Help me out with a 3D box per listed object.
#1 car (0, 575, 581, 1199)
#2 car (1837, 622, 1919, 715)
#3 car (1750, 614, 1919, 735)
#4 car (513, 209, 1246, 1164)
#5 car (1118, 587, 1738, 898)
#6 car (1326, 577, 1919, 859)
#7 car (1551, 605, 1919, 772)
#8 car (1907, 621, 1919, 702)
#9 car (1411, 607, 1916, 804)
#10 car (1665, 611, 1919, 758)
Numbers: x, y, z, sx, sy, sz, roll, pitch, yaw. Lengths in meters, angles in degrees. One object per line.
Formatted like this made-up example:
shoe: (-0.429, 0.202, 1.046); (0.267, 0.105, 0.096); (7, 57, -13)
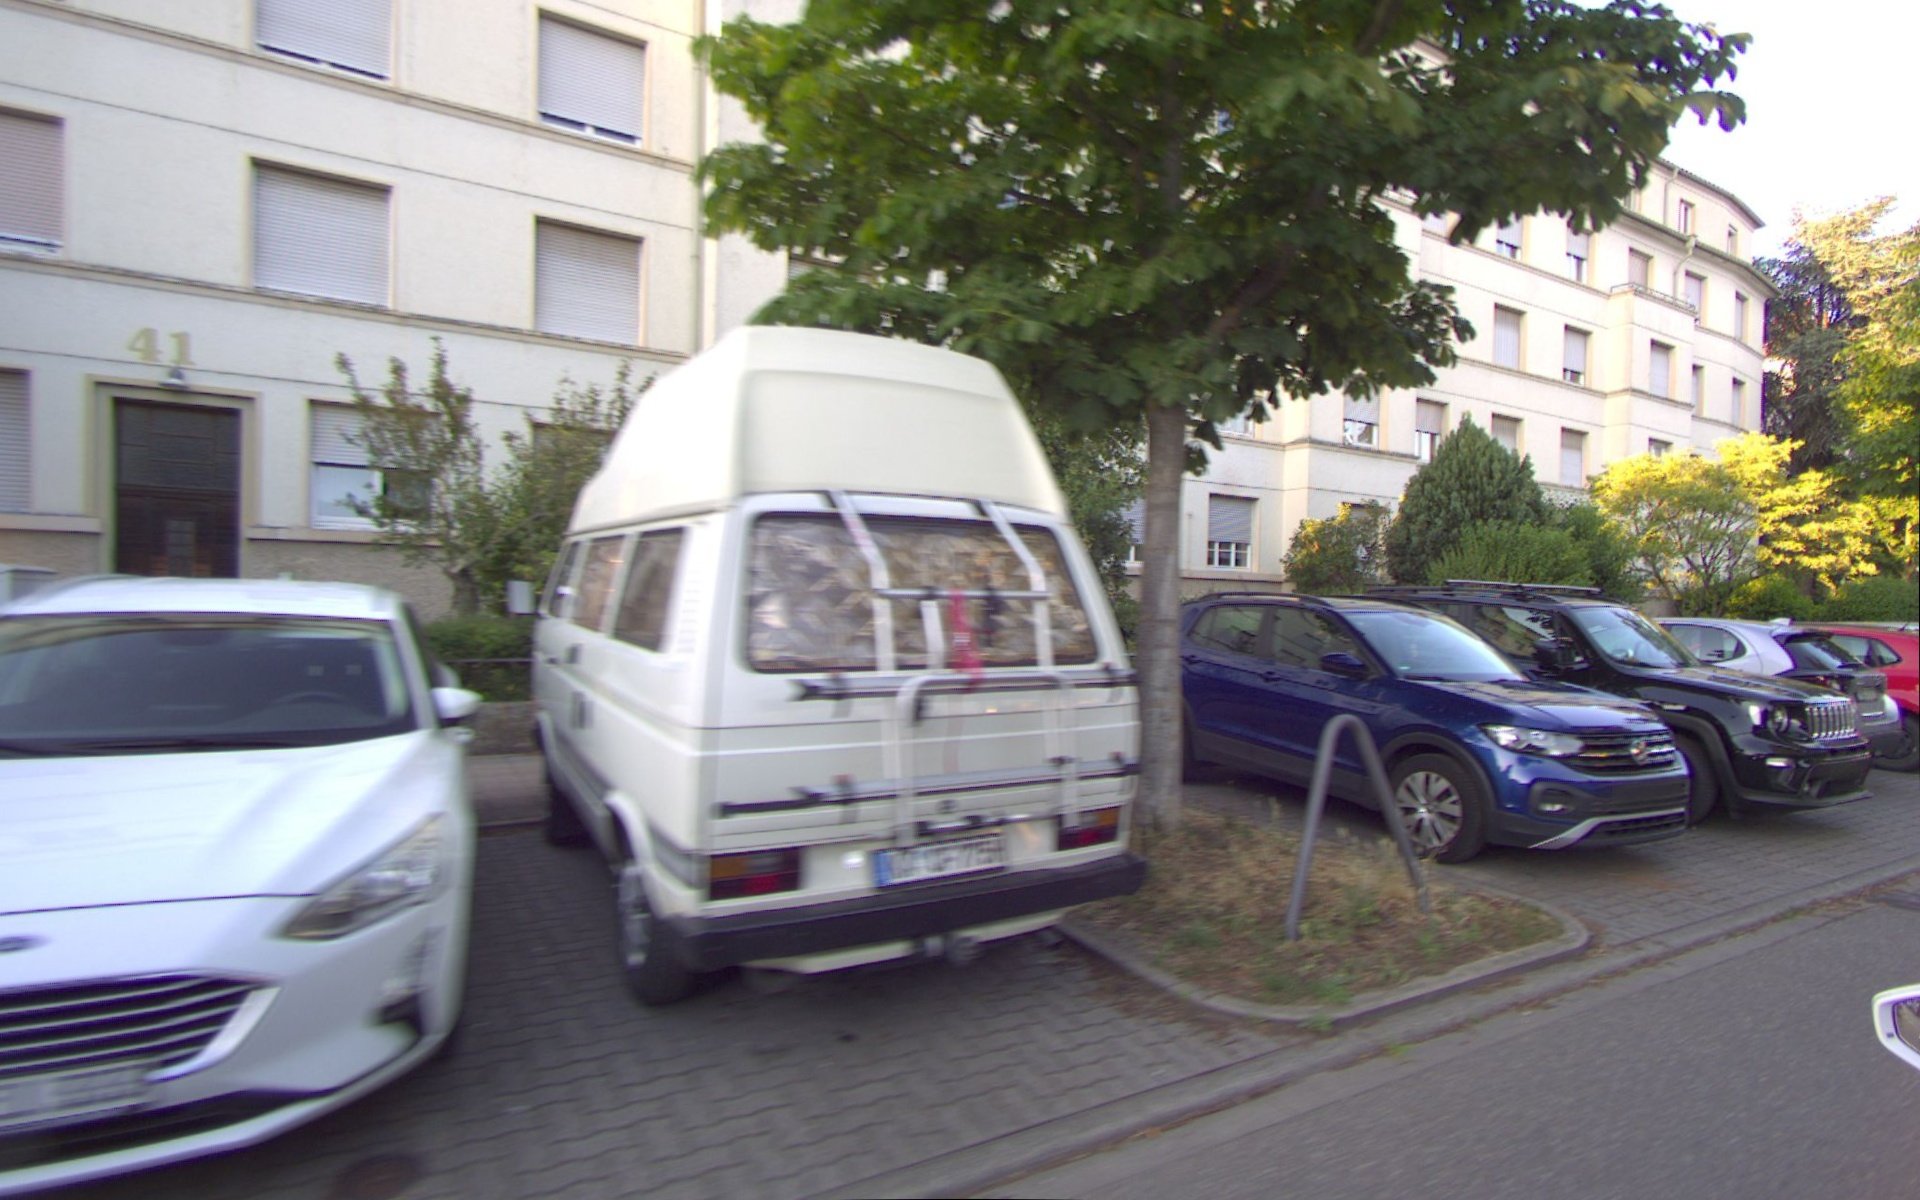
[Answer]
car: (-2.844, 0.646, 3.913); (1.976, 1.444, 4.156); (1, 1, -29)
car: (17.469, 1.231, 16.122); (1.860, 1.490, 4.746); (2, 1, -31)
car: (13.899, 1.061, 14.193); (1.783, 1.599, 3.960); (1, 1, -35)
car: (-0.945, 0.207, 5.044); (1.976, 2.463, 4.482); (1, 1, -29)
car: (3.043, 0.738, 7.382); (1.763, 1.616, 3.844); (1, 1, -28)
car: (5.280, 0.733, 8.540); (1.820, 1.801, 3.844); (1, 1, -28)
car: (9.508, 0.919, 11.905); (1.713, 1.604, 3.961); (1, 1, -34)
car: (19.504, 1.192, 17.947); (1.738, 1.503, 3.398); (1, 1, -30)
car: (7.076, 0.901, 10.519); (1.771, 1.544, 3.962); (1, 1, -34)
car: (11.731, 1.024, 12.570); (1.881, 1.636, 4.377); (1, 1, -35)
